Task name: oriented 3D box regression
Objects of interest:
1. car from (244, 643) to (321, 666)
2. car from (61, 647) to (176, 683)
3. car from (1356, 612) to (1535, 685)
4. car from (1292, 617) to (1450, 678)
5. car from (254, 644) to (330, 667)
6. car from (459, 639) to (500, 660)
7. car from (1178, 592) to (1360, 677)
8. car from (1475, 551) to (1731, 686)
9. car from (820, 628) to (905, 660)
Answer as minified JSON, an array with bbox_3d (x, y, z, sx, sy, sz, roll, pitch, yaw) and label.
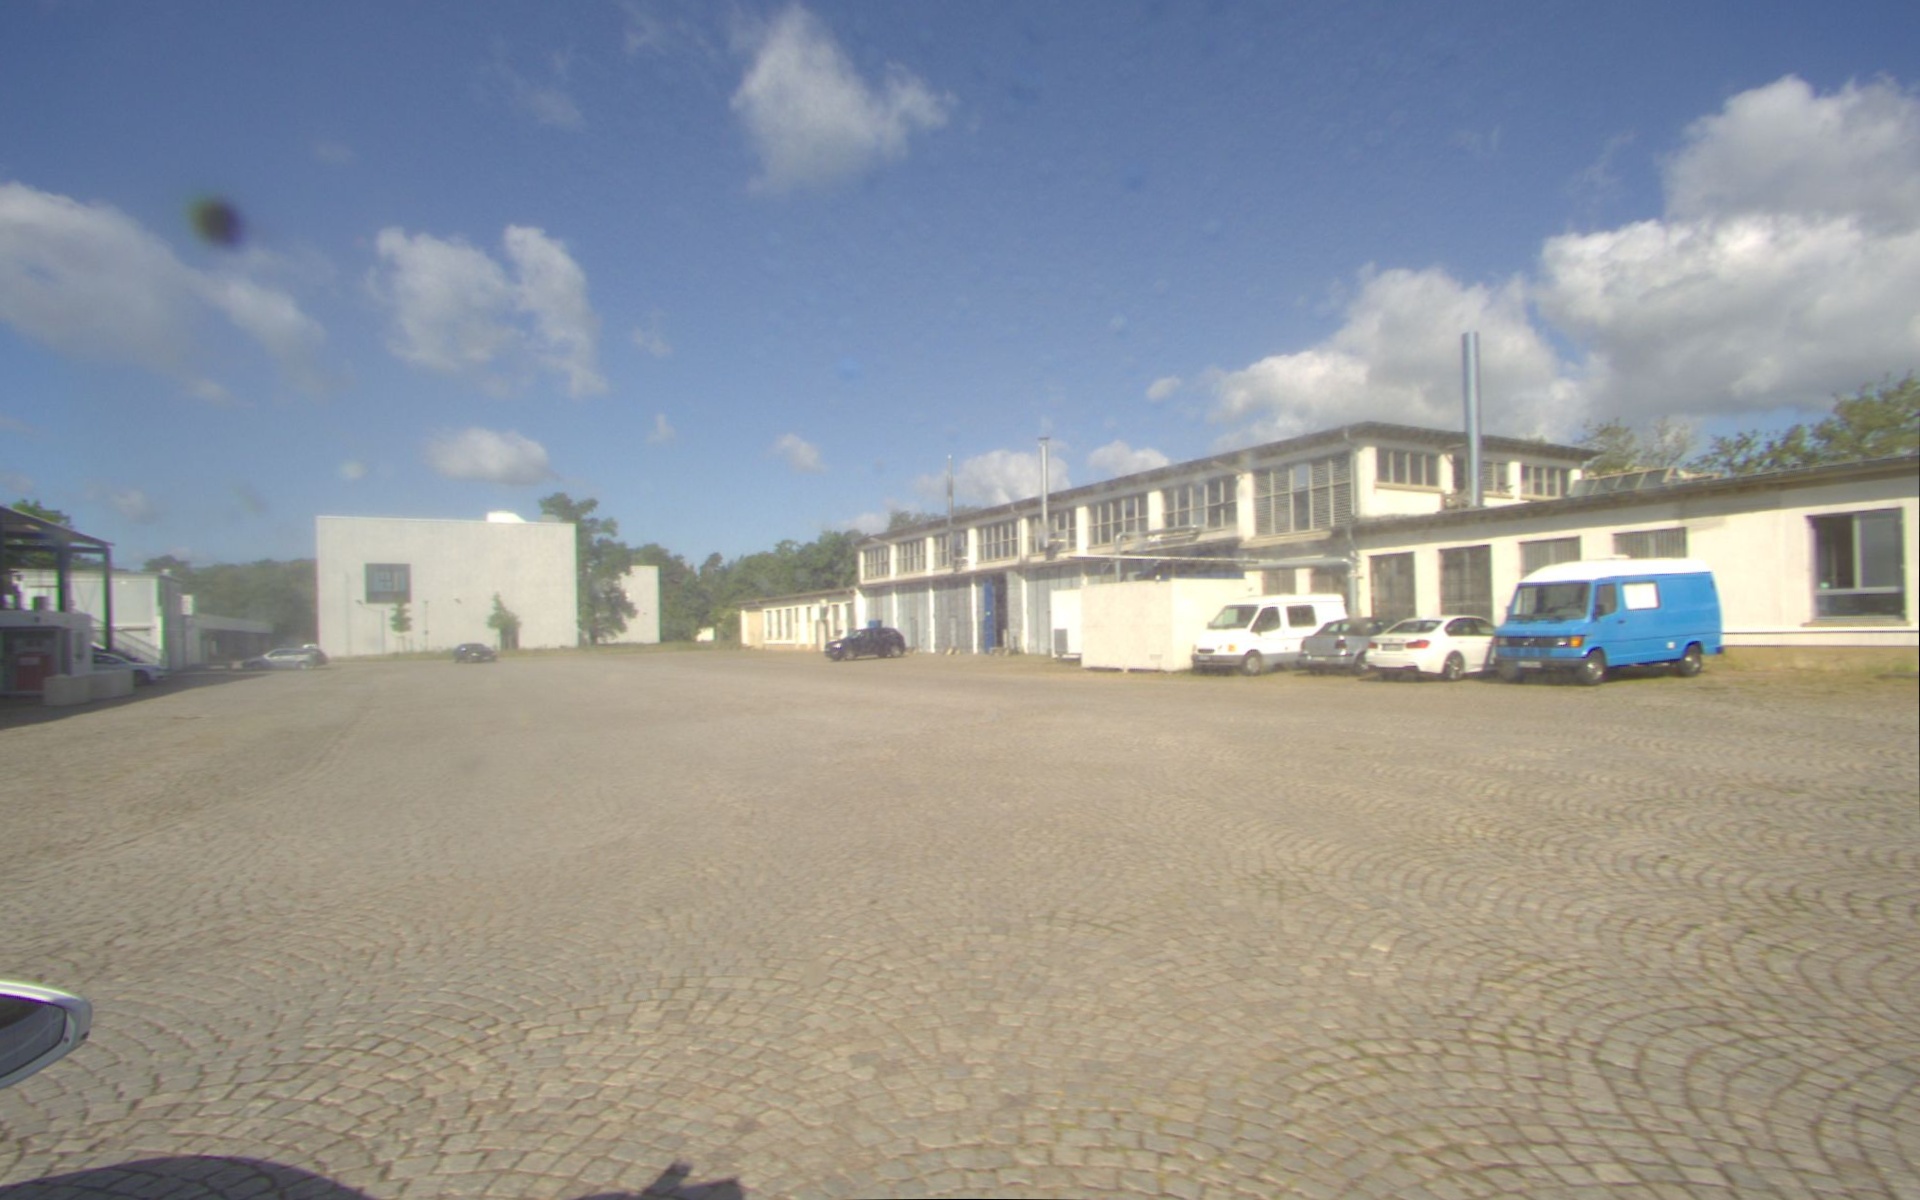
[{"bbox_3d":[-45.475,3.654,67.331,4.128,1.421,1.732,0,-2,-31],"label":"car"},{"bbox_3d":[-36.903,2.827,44.048,3.647,1.426,1.666,0,-2,-32],"label":"car"},{"bbox_3d":[10.994,1.066,22.661,3.681,1.423,1.731,-2,-1,-27],"label":"car"},{"bbox_3d":[10.501,1.166,25.562,3.772,1.416,1.686,0,-1,-27],"label":"car"},{"bbox_3d":[-46.831,3.868,70.264,4.297,1.488,1.732,0,-2,-31],"label":"car"},{"bbox_3d":[-35.253,3.609,73.376,1.722,1.447,4.042,0,-2,-41],"label":"car"},{"bbox_3d":[8.611,0.924,27.856,4.730,2.108,2.002,-1,-1,-26],"label":"car"},{"bbox_3d":[13.382,0.370,20.808,5.157,2.515,2.082,0,-2,-26],"label":"car"},{"bbox_3d":[-5.019,2.274,51.689,4.018,1.488,1.732,-1,-1,-31],"label":"car"}]
